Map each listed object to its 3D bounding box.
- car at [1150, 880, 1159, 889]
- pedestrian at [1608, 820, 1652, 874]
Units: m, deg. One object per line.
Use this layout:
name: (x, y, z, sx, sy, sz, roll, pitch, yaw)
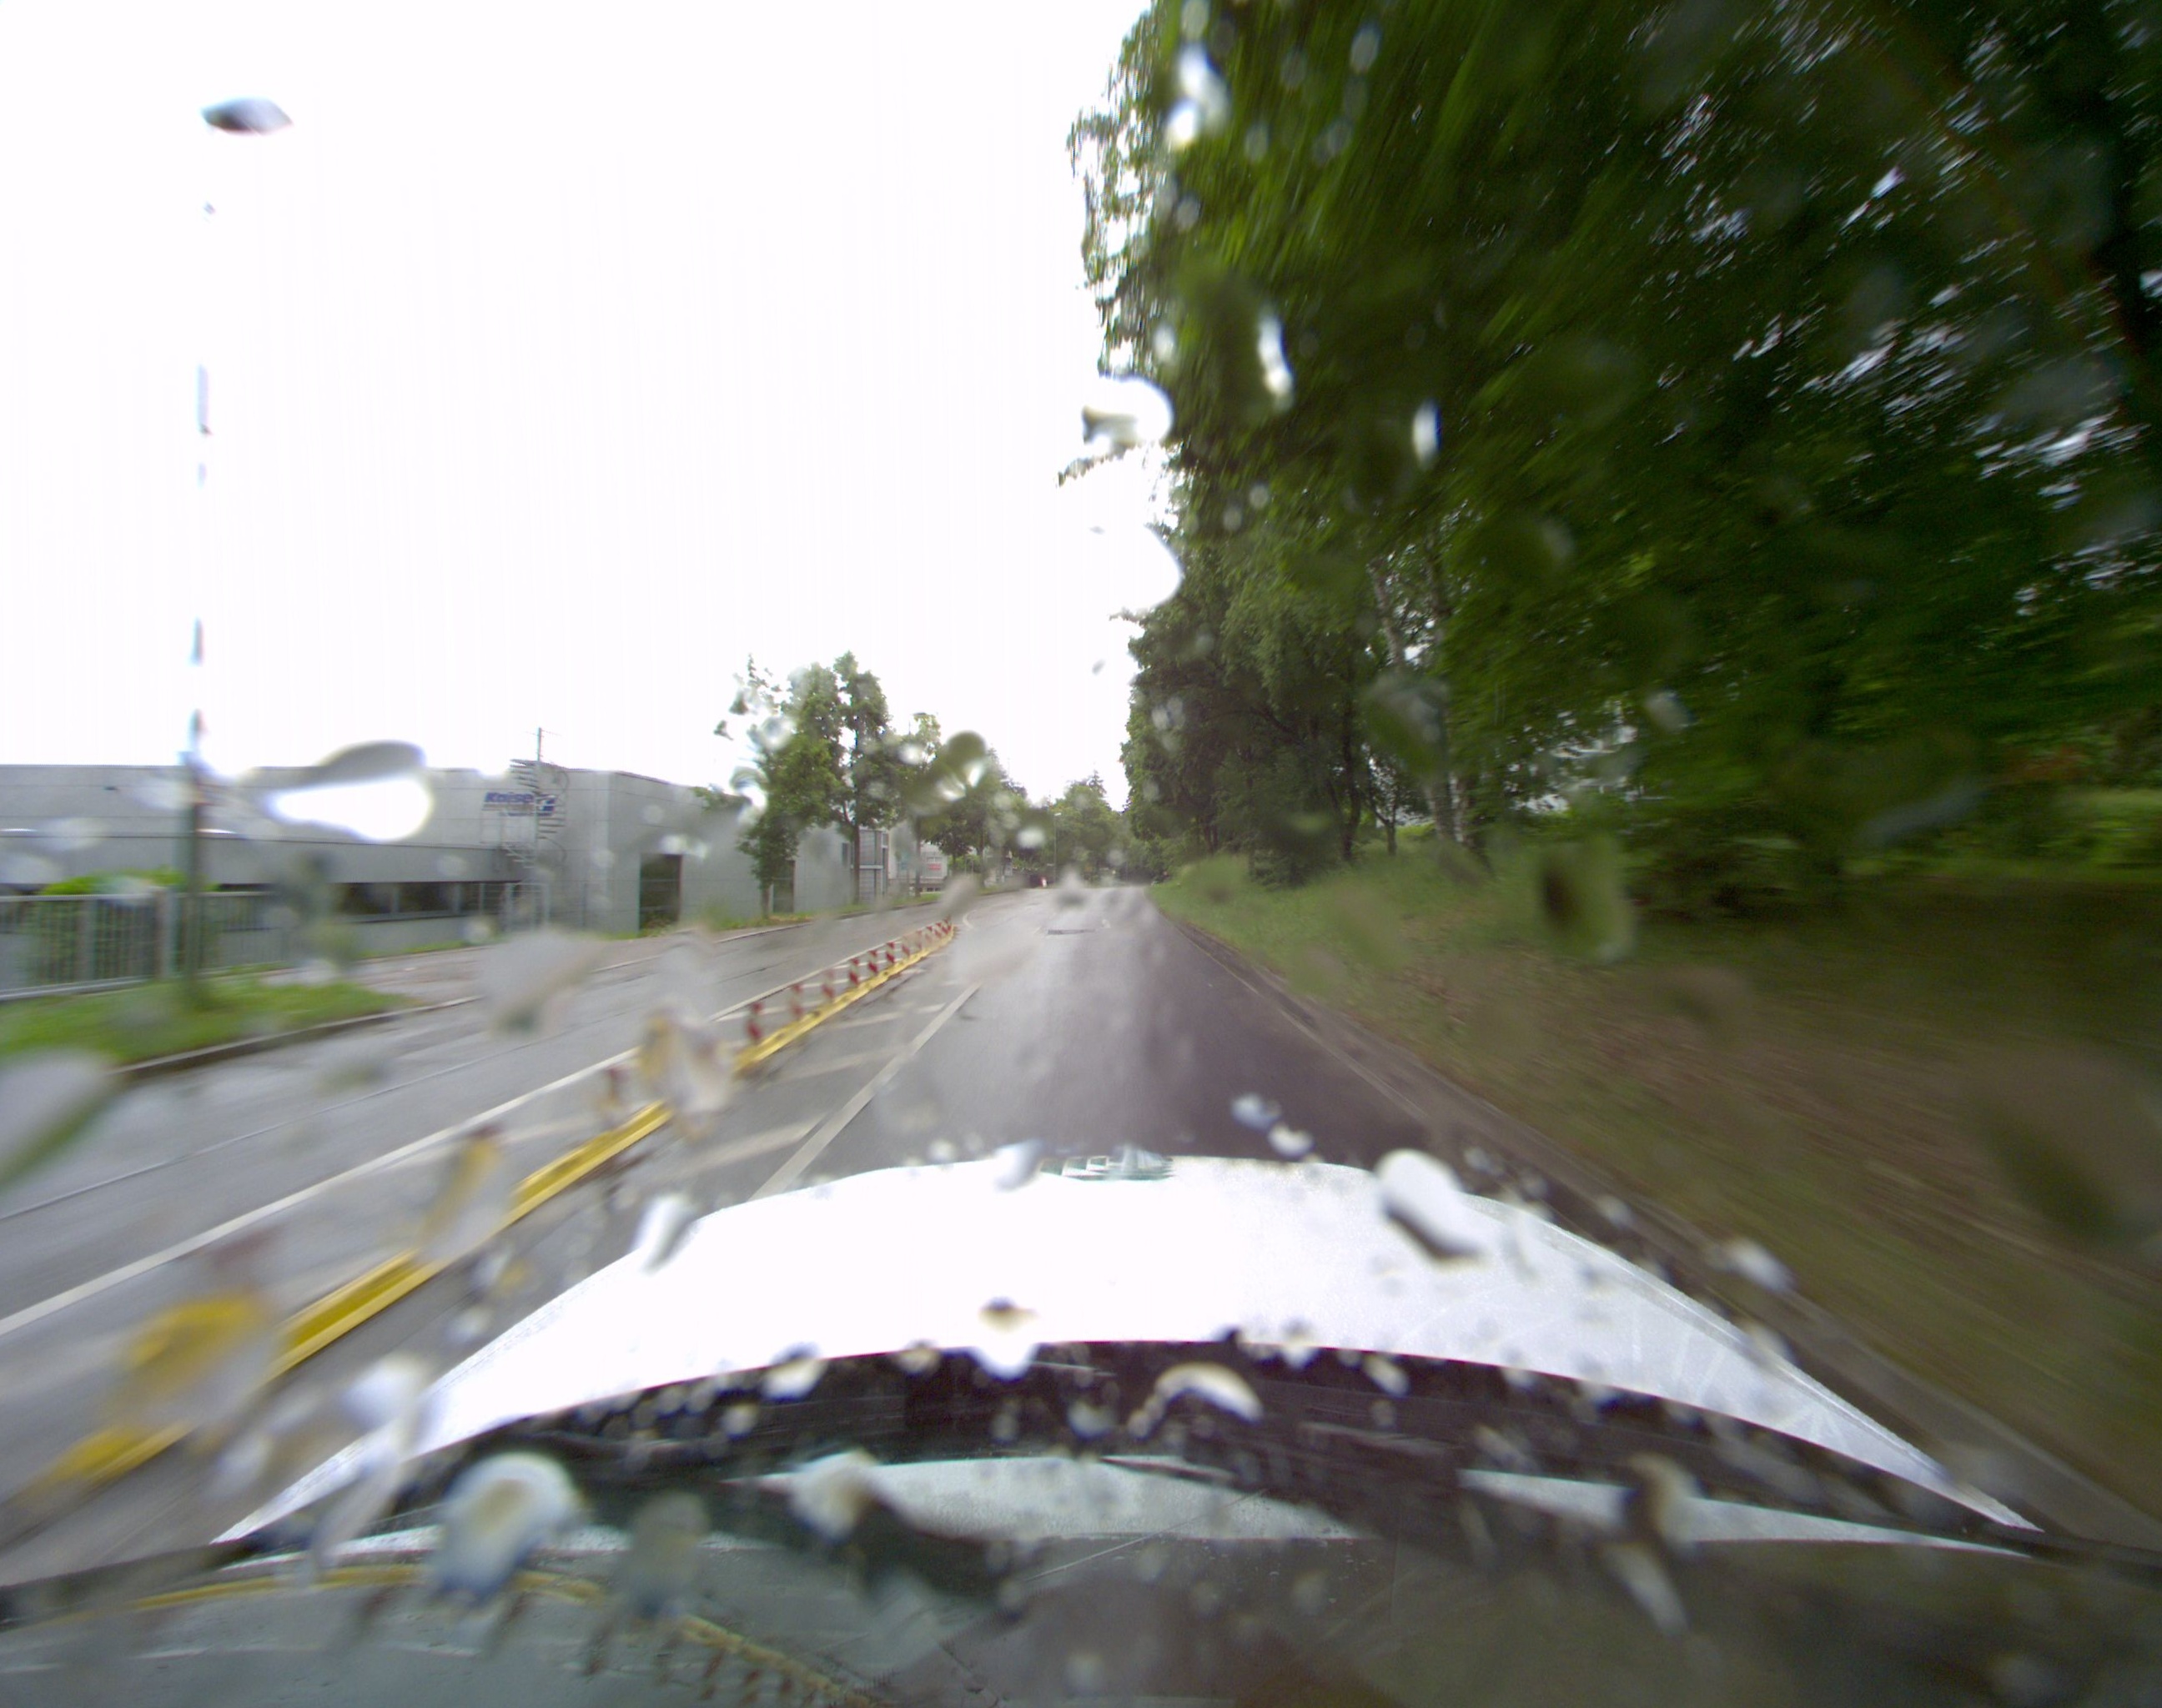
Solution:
car: (14.641, 6.061, 161.810, 1.728, 1.511, 4.004, -3, -2, 5)
pedestrian: (13.623, -0.179, 20.226, 0.651, 1.284, 0.626, -3, -1, 5)
